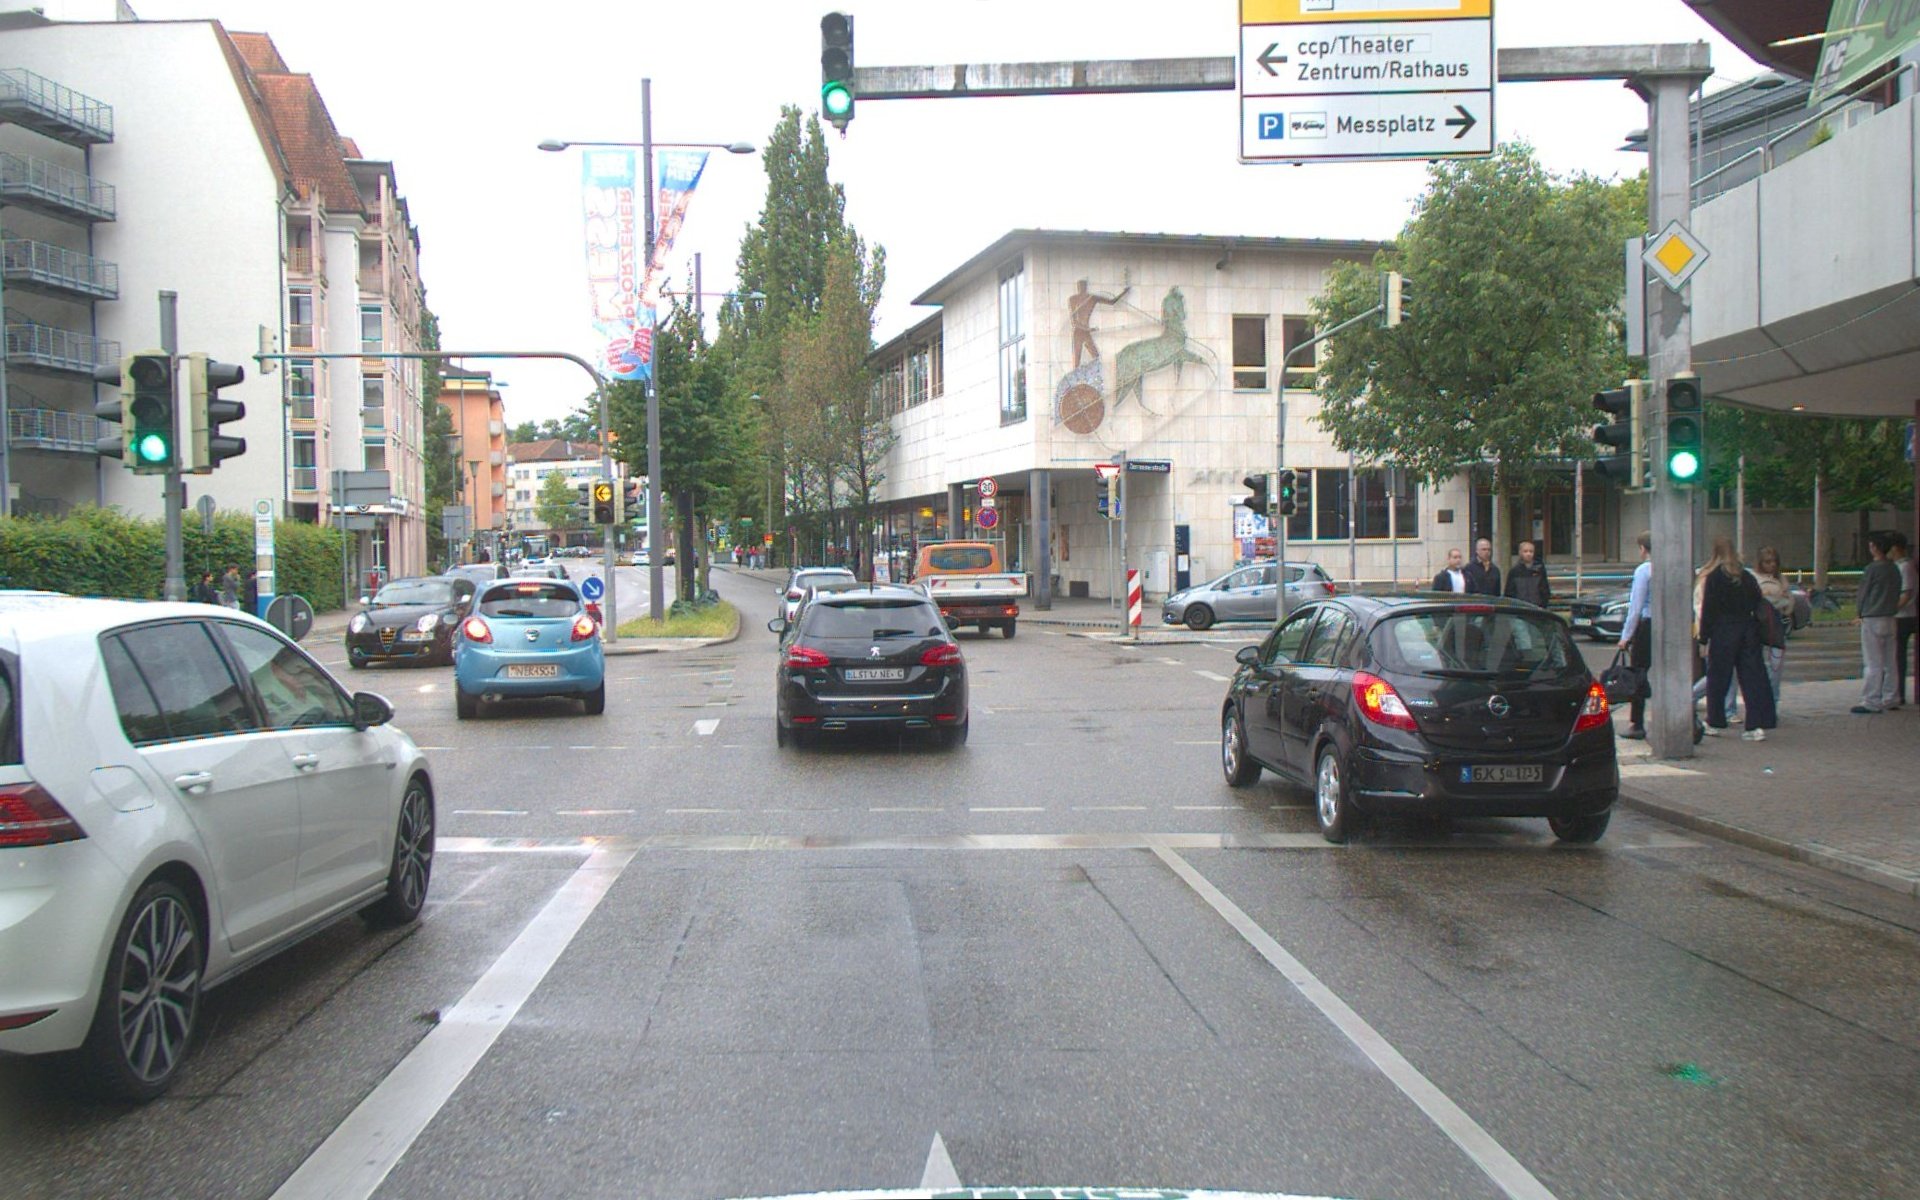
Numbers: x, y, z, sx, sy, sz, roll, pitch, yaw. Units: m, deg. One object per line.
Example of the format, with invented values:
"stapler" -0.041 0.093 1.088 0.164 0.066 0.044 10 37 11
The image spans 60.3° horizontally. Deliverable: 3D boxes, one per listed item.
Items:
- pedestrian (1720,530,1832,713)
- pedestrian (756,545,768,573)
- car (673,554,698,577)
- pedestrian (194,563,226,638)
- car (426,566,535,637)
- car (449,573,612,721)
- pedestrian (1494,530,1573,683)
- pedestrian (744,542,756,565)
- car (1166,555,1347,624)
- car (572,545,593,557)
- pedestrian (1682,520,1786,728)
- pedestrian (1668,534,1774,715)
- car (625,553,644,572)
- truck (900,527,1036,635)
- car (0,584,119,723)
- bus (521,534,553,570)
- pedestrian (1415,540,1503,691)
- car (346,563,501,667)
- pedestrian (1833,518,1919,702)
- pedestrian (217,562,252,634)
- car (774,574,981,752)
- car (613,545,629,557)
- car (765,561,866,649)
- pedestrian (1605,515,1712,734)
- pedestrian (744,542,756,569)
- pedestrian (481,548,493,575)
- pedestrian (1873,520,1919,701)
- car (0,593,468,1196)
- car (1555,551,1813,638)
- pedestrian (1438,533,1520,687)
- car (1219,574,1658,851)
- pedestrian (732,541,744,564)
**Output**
"pedestrian" 8.069 0.193 16.392 0.576 1.735 0.971 -3 1 1
"pedestrian" -13.413 -2.781 111.890 0.686 1.832 0.604 -3 2 -14
"car" -20.972 -2.600 126.473 1.617 1.591 3.587 1 -1 -14
"pedestrian" -18.195 0.024 40.117 0.516 1.795 0.630 -1 -2 -5
"car" -12.798 -0.001 44.400 1.791 1.766 4.308 -2 1 -3
"car" -5.117 0.465 19.425 1.669 1.500 3.673 -1 2 -17
"pedestrian" 7.404 0.087 21.375 0.717 1.929 0.676 -1 0 -3
"pedestrian" -14.981 -3.340 117.827 0.714 1.617 0.604 -3 2 -14
"car" 6.671 -0.237 37.313 3.902 1.502 2.002 0 1 10
"car" -55.156 -7.091 241.853 1.633 1.591 3.550 2 -1 -38
"pedestrian" 6.889 0.215 14.742 0.609 1.804 0.677 -1 -1 5
"pedestrian" 7.444 0.218 16.216 0.562 1.692 0.940 -3 1 1
"car" -30.987 -3.564 157.290 1.617 1.591 3.587 1 -1 -14
"truck" 0.077 -0.406 34.735 2.083 2.060 4.706 -2 1 -9
"car" -11.682 0.636 19.533 1.638 1.541 3.642 -3 1 -2
"bus" -40.876 -4.657 159.745 2.699 3.128 12.189 -2 3 -15
"pedestrian" 6.176 0.185 20.499 0.734 1.811 0.887 -1 0 -5
"car" -9.028 0.200 28.108 1.590 1.582 3.657 -2 2 -3
"pedestrian" 9.094 0.099 16.407 0.583 1.794 0.493 -1 -1 -1
"pedestrian" -18.379 -0.056 41.897 0.629 1.795 0.592 -1 -2 -6
"car" -0.778 0.510 16.099 1.759 1.509 3.998 0 1 -2
"car" -48.293 -6.952 235.521 1.962 1.713 3.983 -2 2 -16
"car" -2.806 0.041 31.714 1.760 1.509 3.995 -2 2 -6
"pedestrian" 6.183 0.212 14.672 0.609 1.879 0.848 -1 -1 5
"pedestrian" -14.193 -2.997 111.666 0.642 1.797 0.919 -3 2 -14
"pedestrian" -31.605 -2.573 110.540 0.685 1.825 0.956 -1 1 -11
"pedestrian" 9.637 0.103 16.708 0.515 1.794 0.511 -1 -1 -1
"car" -3.184 0.709 5.981 1.730 1.434 3.998 1 0 -2
"car" 13.335 -0.138 30.529 4.188 1.444 1.781 -2 2 -15
"pedestrian" 6.675 0.125 21.308 0.743 1.935 0.789 -1 0 -2
"car" 2.941 0.586 11.006 1.674 1.482 3.741 0 1 -3
"pedestrian" -15.820 -3.374 117.660 0.705 1.648 0.766 -3 2 -14
